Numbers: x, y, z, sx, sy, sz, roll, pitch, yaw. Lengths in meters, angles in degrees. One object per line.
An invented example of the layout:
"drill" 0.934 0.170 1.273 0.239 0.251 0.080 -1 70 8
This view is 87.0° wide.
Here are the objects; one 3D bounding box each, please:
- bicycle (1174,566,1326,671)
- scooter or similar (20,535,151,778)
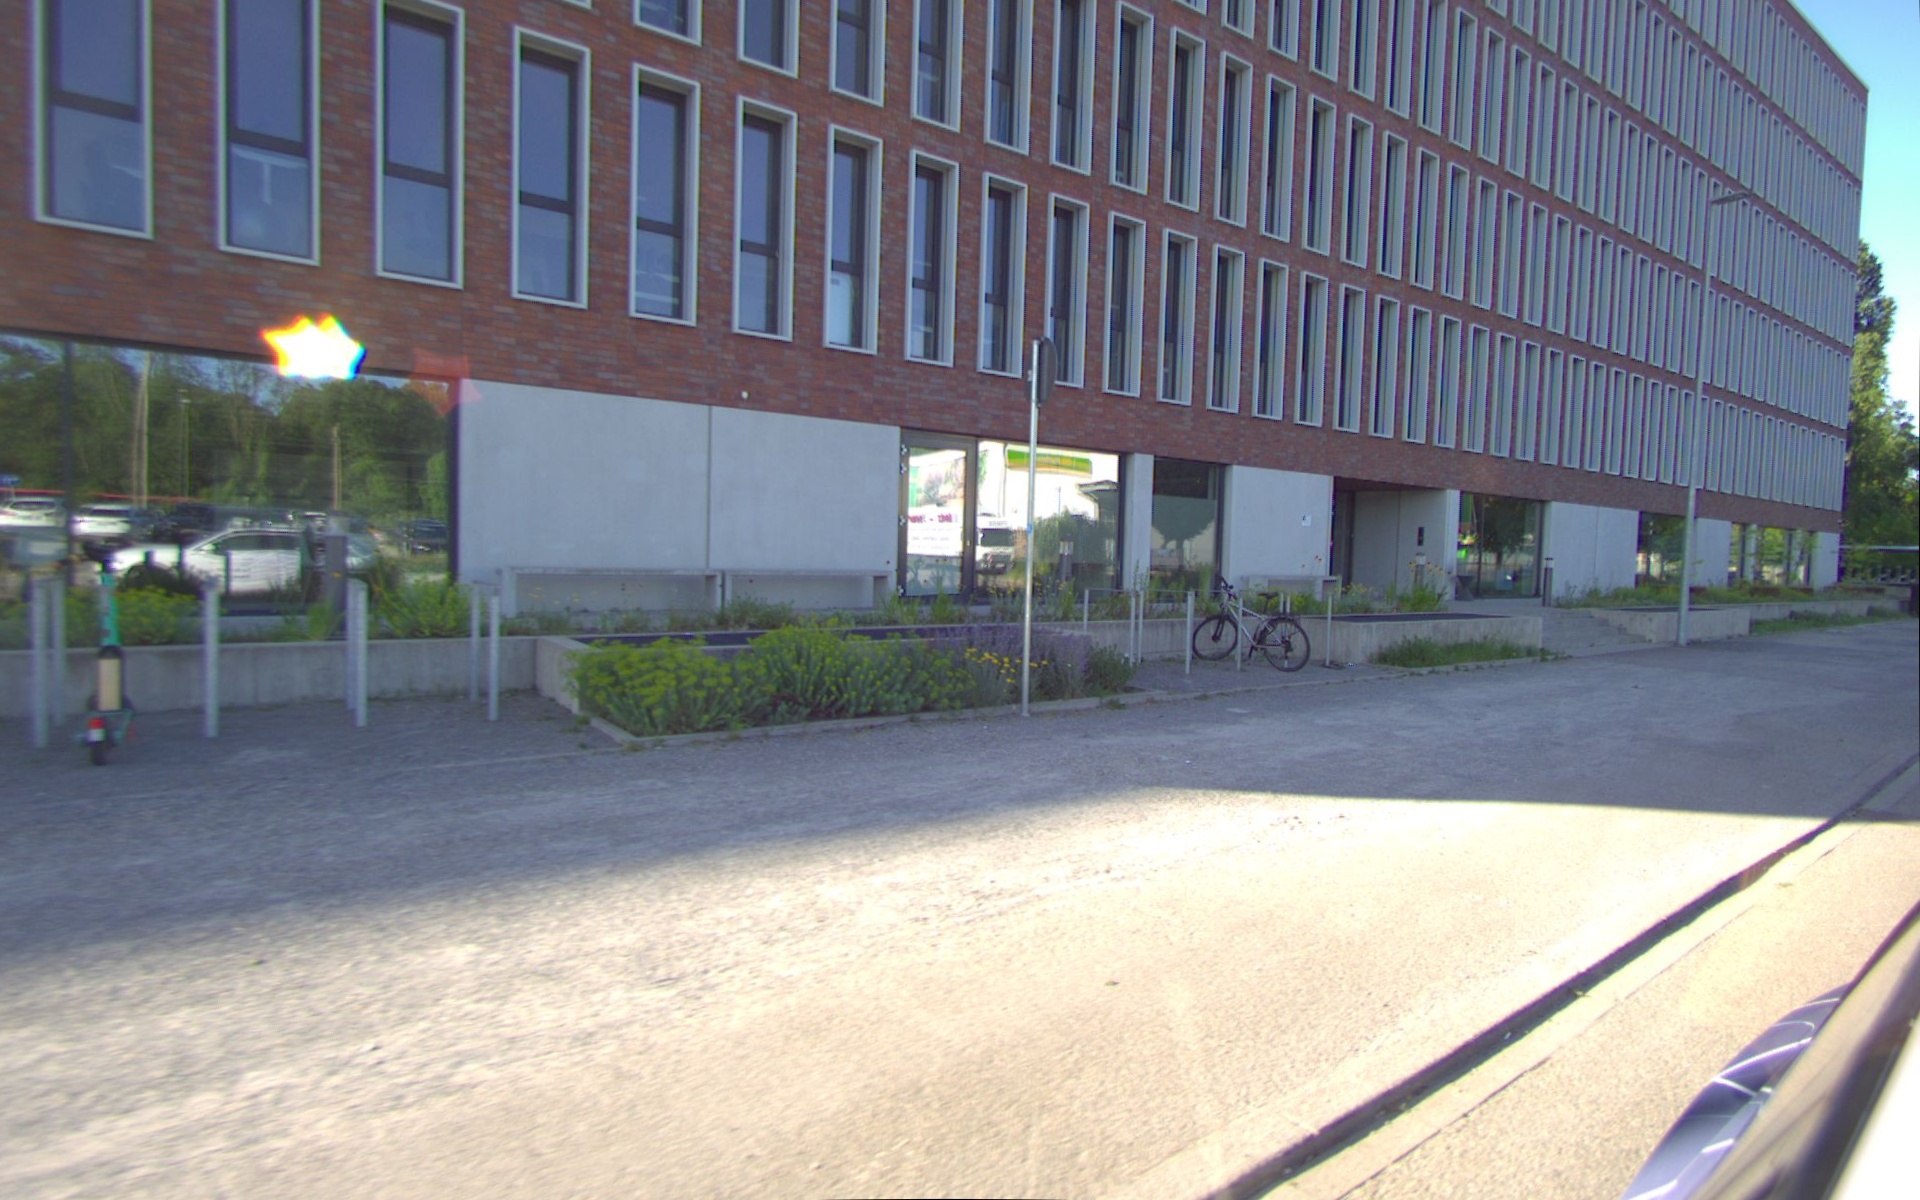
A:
"bicycle" 3.760 0.203 13.276 0.369 1.183 1.934 -1 5 -44
"scooter or similar" -5.107 0.264 5.966 0.415 1.260 1.346 0 3 -34
